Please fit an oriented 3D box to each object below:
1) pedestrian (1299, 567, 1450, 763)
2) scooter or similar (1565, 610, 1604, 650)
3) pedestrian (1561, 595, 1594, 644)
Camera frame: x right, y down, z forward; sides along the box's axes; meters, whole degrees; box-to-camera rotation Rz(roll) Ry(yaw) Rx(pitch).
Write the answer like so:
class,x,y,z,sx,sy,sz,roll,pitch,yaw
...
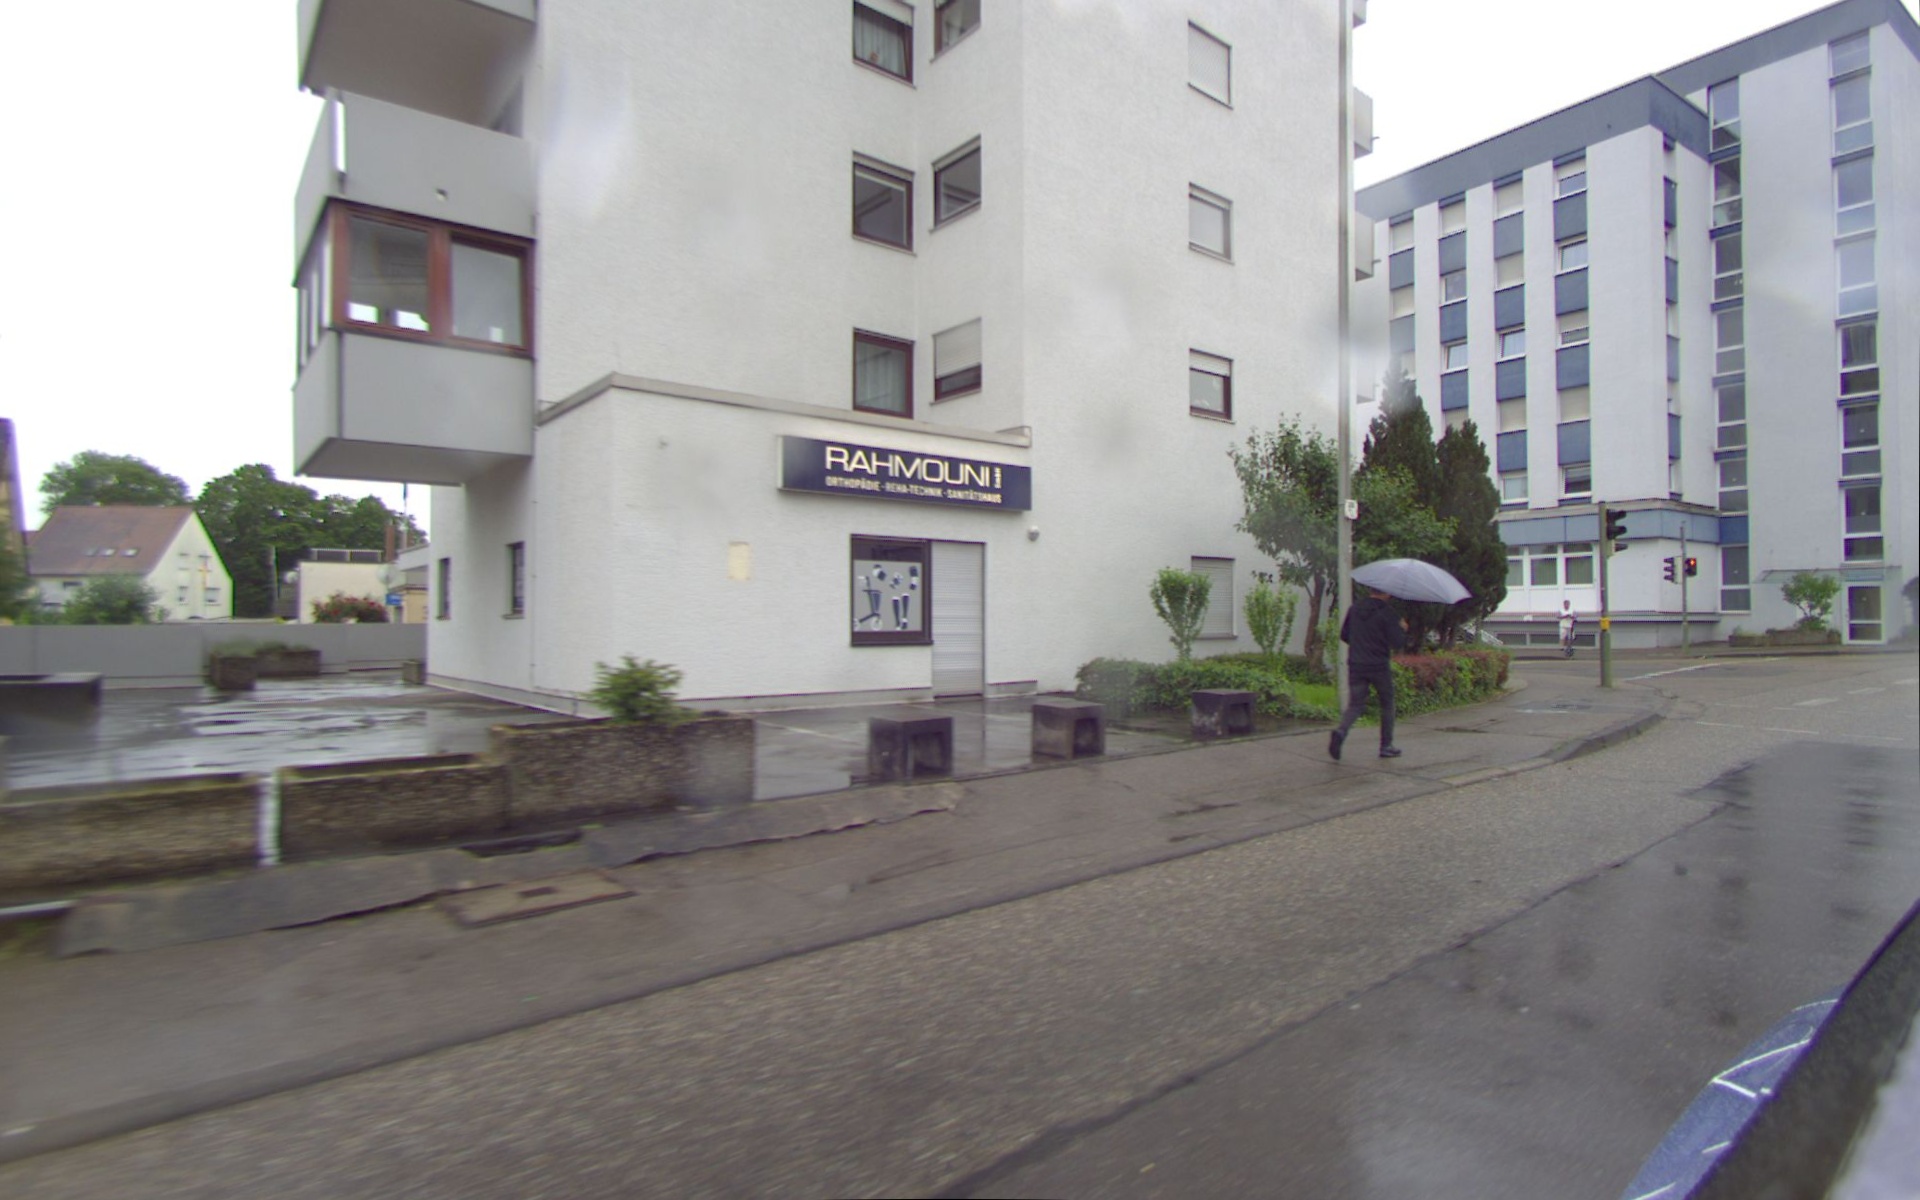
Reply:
class,x,y,z,sx,sy,sz,roll,pitch,yaw
pedestrian,3.620,0.538,8.845,0.975,1.589,0.754,-1,-3,-37
scooter or similar,20.612,0.979,33.382,0.799,1.244,1.045,-7,-5,44
pedestrian,21.757,0.701,35.669,0.644,1.673,0.645,0,-5,-36
